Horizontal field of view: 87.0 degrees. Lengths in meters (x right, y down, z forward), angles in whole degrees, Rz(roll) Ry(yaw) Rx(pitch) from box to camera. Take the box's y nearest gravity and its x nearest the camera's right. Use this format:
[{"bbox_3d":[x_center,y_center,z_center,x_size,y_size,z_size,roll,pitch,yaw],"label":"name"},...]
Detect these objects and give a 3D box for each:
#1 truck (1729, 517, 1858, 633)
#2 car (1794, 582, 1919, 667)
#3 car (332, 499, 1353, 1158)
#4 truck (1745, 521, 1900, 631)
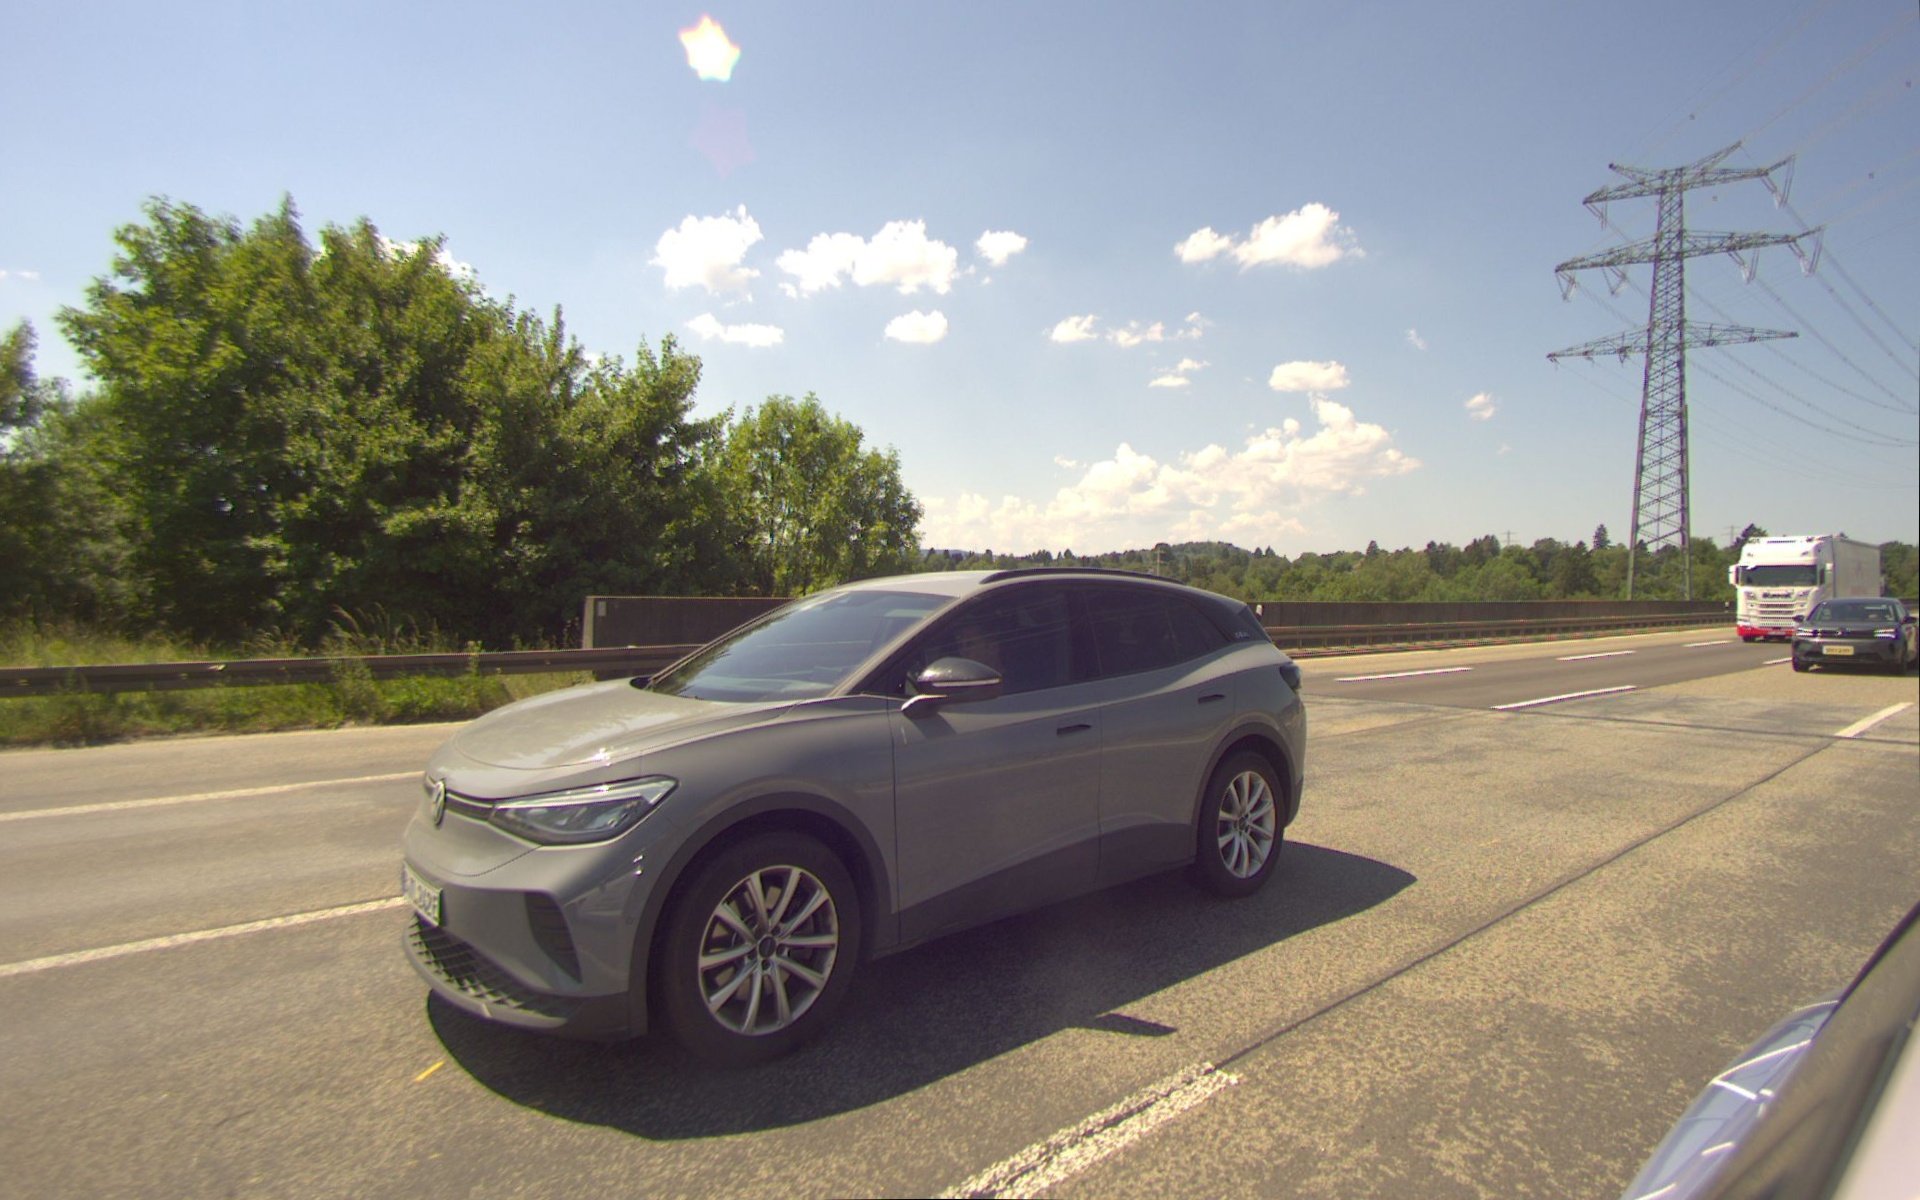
[{"bbox_3d":[30.558,-0.847,37.097,3.780,3.958,3.074,1,-1,-41],"label":"truck"},{"bbox_3d":[19.836,0.495,22.041,3.976,1.667,1.953,0,-1,-41],"label":"car"},{"bbox_3d":[-0.167,0.582,4.752,4.505,1.657,1.871,0,-1,-41],"label":"car"},{"bbox_3d":[35.646,-0.817,41.562,12.285,3.957,3.073,0,-1,-41],"label":"truck"}]
